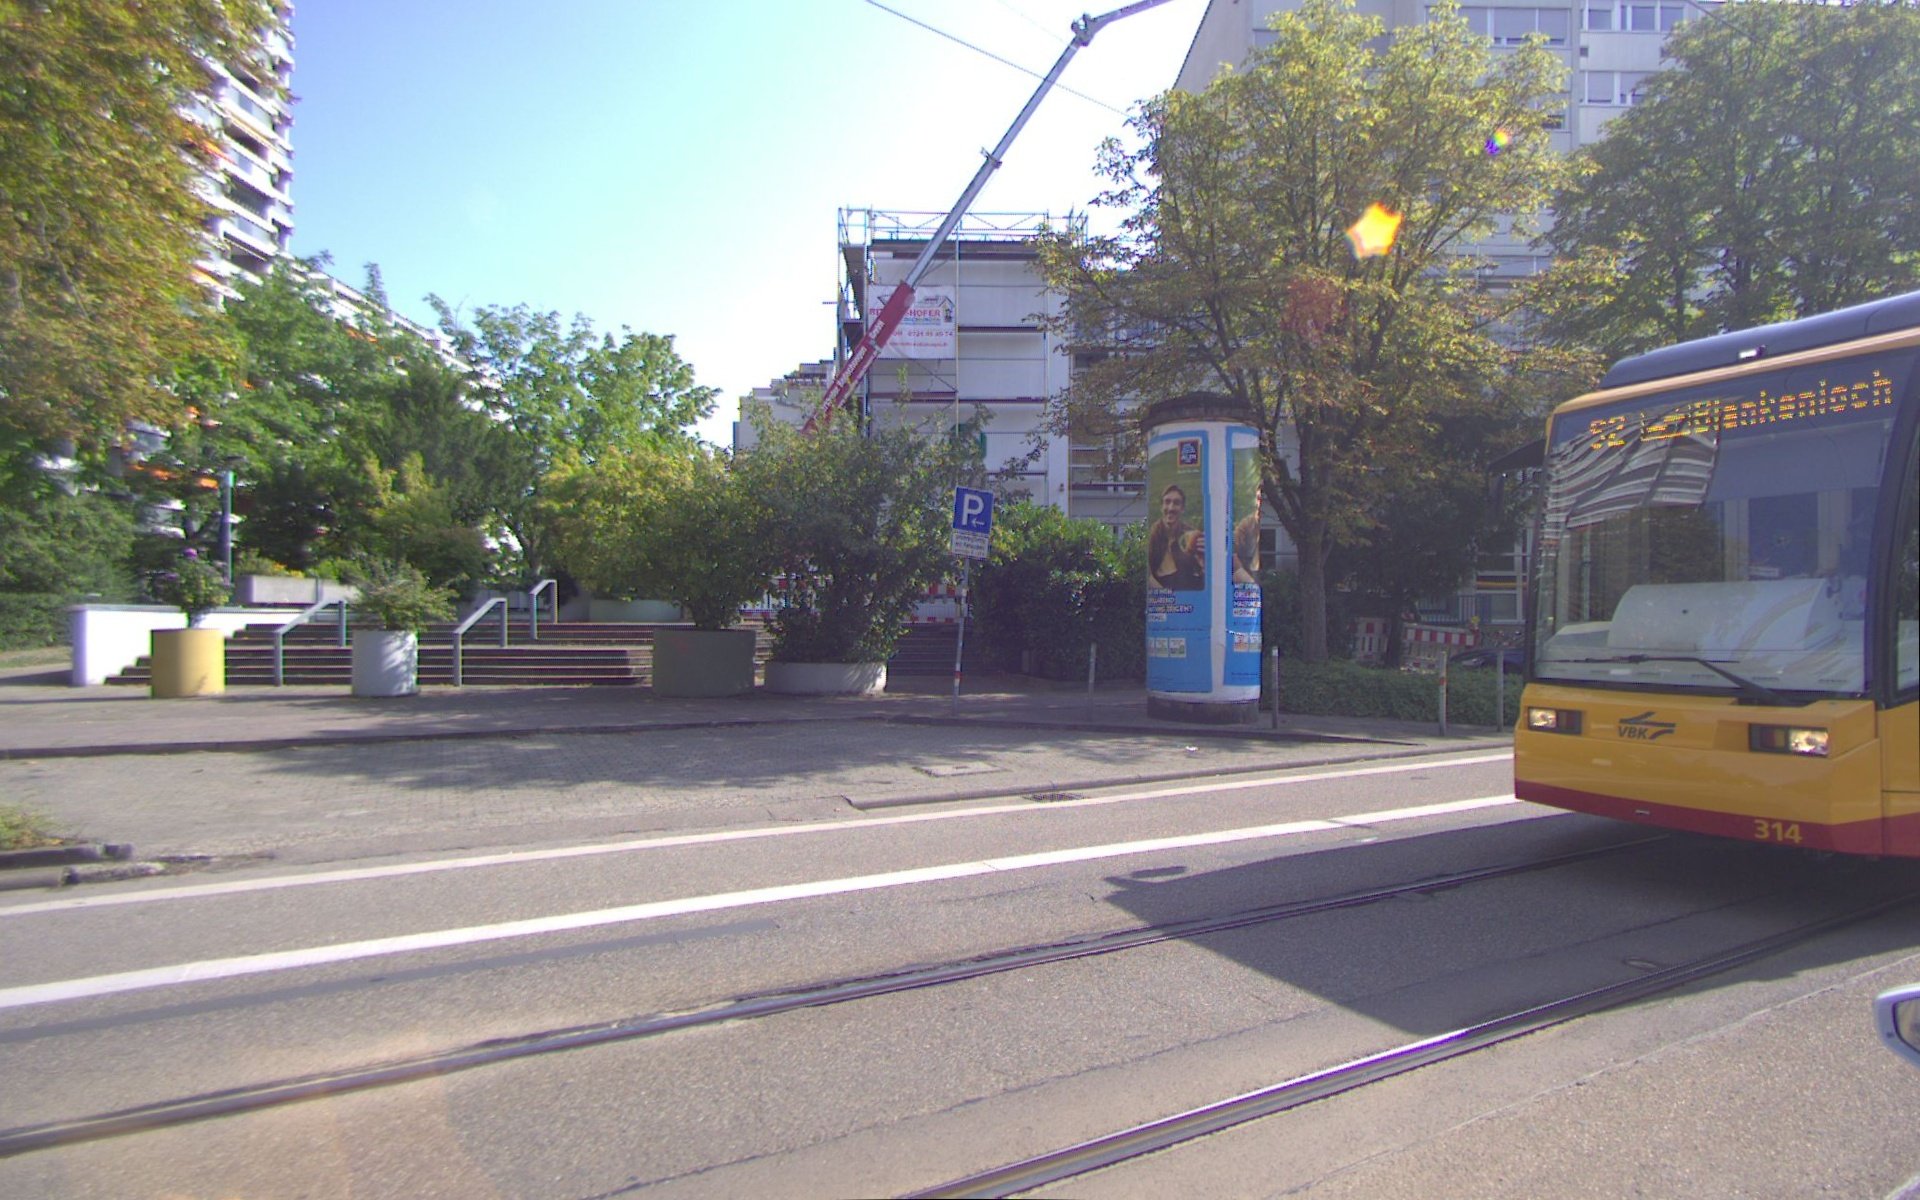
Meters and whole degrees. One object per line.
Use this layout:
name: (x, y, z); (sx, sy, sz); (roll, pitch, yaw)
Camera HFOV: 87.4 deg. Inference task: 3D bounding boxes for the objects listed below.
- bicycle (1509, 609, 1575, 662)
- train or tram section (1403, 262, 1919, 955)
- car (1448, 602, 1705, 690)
bicycle: (16.028, 0.951, 27.723); (0.574, 1.399, 2.434); (0, -1, 4)
train or tram section: (10.217, 0.132, 8.961); (15.261, 2.933, 2.718); (1, -1, -28)
car: (11.038, 0.787, 18.293); (3.721, 1.461, 1.694); (0, -1, 20)
